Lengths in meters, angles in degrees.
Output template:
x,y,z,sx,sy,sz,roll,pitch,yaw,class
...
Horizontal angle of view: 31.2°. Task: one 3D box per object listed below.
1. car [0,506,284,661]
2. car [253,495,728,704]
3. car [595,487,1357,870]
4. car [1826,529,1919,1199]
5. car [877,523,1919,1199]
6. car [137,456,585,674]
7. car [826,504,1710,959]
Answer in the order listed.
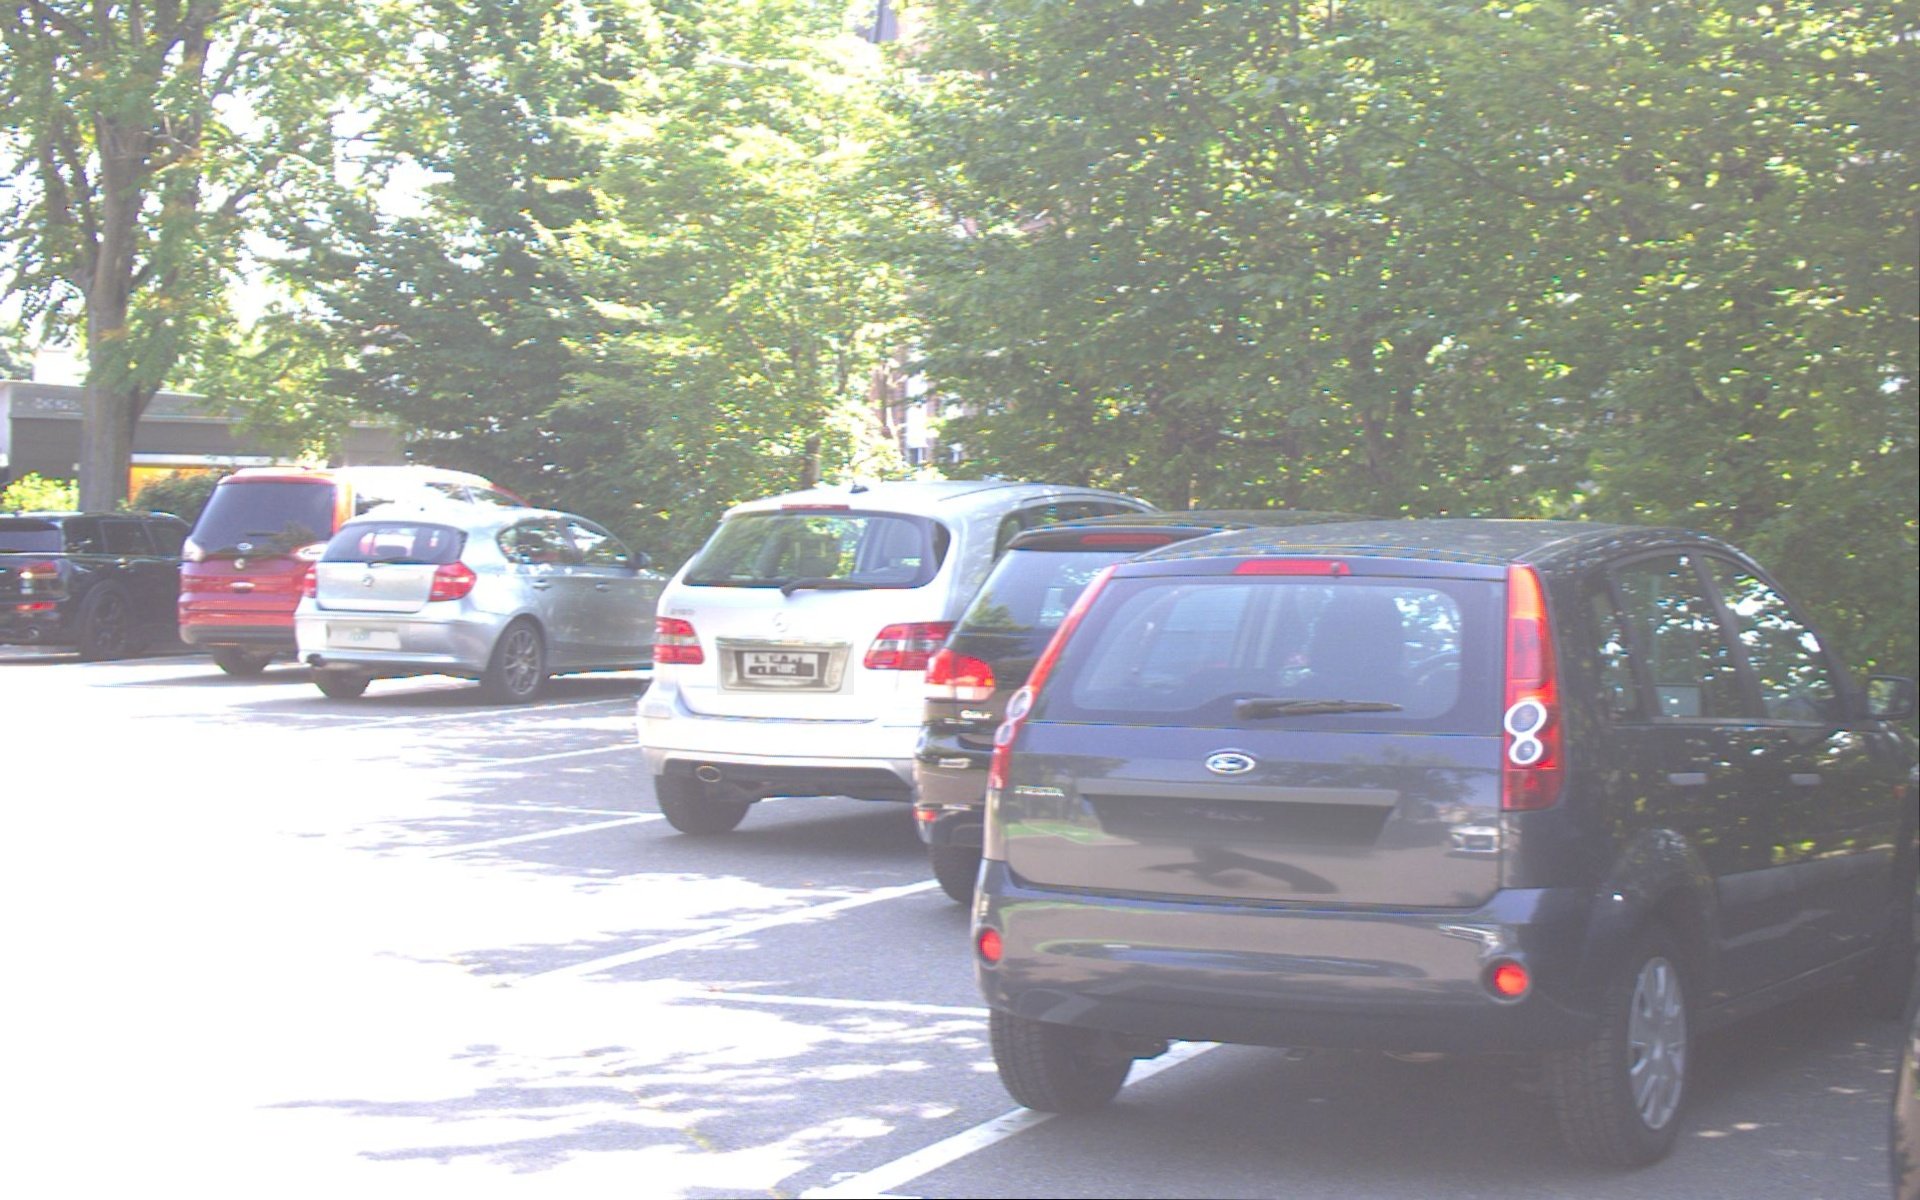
x,y,z,sx,sy,sz,roll,pitch,yaw,class
-8.408,-0.183,32.854,1.771,1.384,3.994,1,1,26,car
-3.497,-0.064,26.377,1.771,1.470,3.995,1,2,24,car
0.209,0.263,16.262,1.771,1.566,3.993,1,2,32,car
3.039,0.576,6.794,1.658,1.465,3.898,1,2,29,car
1.570,0.535,9.327,1.702,1.448,3.993,1,2,31,car
-5.055,-0.326,29.549,1.771,1.728,3.995,-1,1,25,car
1.361,0.374,13.470,1.772,1.465,3.993,1,2,33,car
